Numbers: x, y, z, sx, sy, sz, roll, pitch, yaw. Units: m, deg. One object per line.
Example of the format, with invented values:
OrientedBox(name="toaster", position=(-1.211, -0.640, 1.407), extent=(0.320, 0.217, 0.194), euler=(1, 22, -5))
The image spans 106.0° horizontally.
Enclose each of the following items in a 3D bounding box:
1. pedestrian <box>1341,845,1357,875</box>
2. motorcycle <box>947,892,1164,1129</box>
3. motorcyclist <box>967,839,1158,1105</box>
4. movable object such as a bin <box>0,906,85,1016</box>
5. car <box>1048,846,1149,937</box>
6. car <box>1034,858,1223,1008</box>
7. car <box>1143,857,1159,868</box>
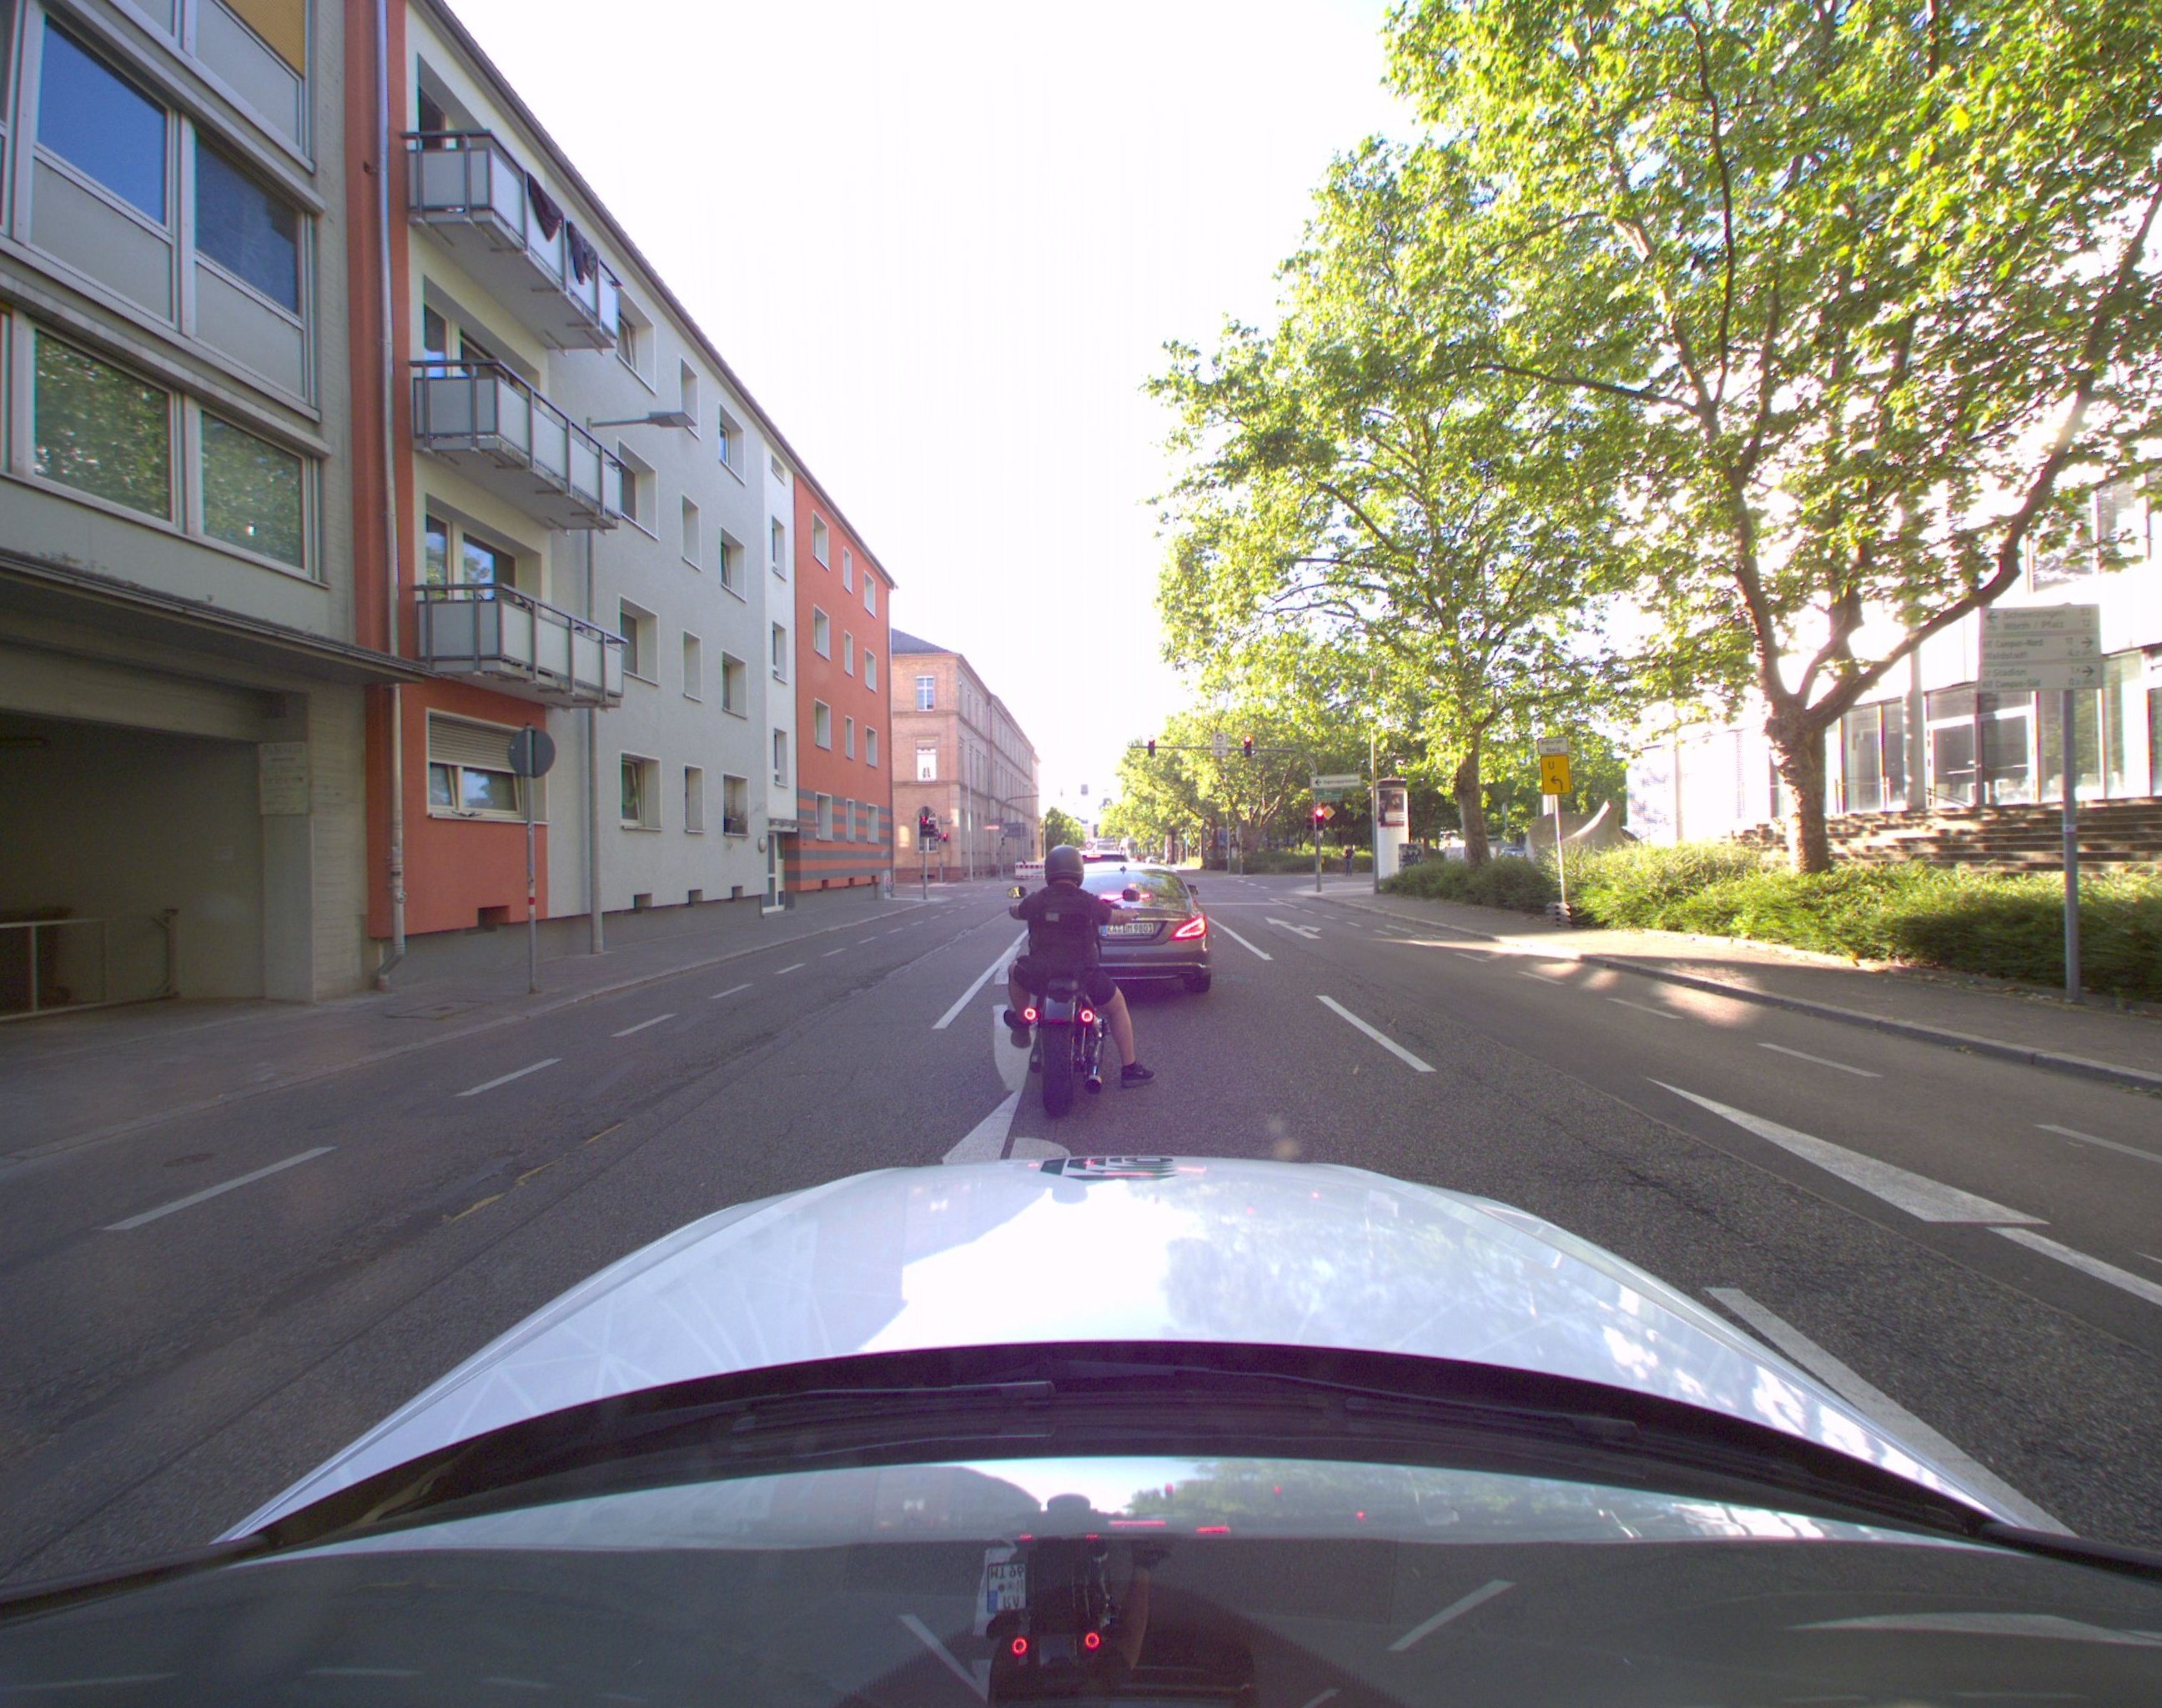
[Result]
OrientedBox(name="pedestrian", position=(16.194, 0.349, 49.175), extent=(0.728, 1.778, 0.734), euler=(-1, -1, 32))
OrientedBox(name="motorcycle", position=(-0.042, 0.910, 5.616), extent=(1.111, 1.207, 2.217), euler=(-1, -1, 8))
OrientedBox(name="motorcyclist", position=(-0.070, 0.702, 5.397), extent=(1.093, 1.566, 1.074), euler=(-1, -1, 8))
OrientedBox(name="movable object such as a bin", position=(-11.284, 1.115, 8.640), extent=(0.533, 1.079, 0.723), euler=(0, -1, 3))
OrientedBox(name="car", position=(0.381, 0.710, 17.061), extent=(1.856, 1.678, 4.001), euler=(0, -1, 2))
OrientedBox(name="car", position=(0.520, 0.778, 9.773), extent=(1.815, 1.437, 3.807), euler=(0, -1, 2))
OrientedBox(name="car", position=(8.247, 0.965, 96.033), extent=(1.625, 1.259, 3.717), euler=(0, -1, 2))
